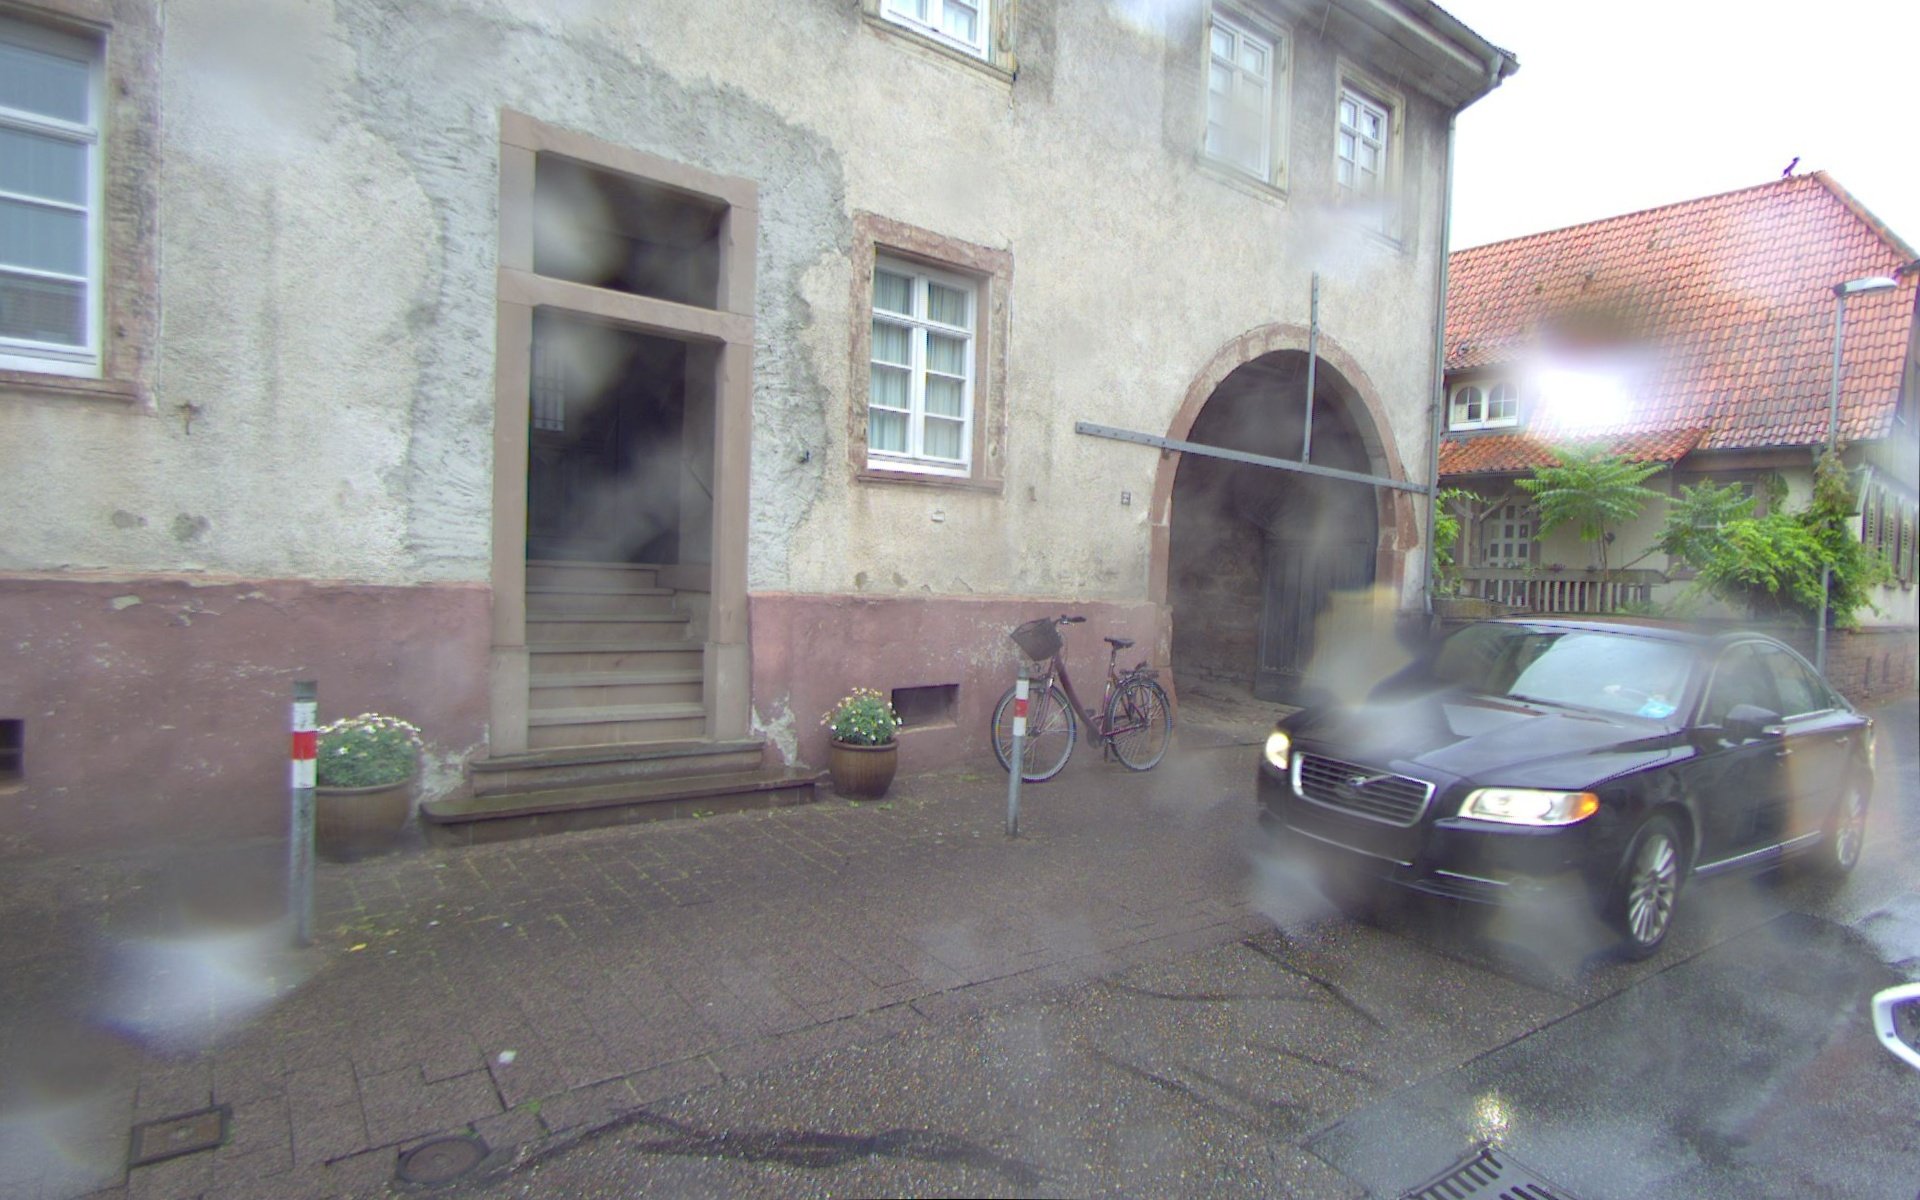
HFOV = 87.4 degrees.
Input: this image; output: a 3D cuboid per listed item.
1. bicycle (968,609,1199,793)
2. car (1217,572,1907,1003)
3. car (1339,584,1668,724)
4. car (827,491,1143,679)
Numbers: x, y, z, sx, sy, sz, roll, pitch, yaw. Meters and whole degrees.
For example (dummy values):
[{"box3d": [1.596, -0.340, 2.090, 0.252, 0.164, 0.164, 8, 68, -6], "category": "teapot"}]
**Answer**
[{"box3d": [0.958, 0.688, 7.454, 1.858, 1.194, 0.478, 1, 4, -38], "category": "bicycle"}, {"box3d": [3.560, 0.728, 5.629, 4.299, 1.529, 1.684, 2, 2, -36], "category": "car"}, {"box3d": [7.986, 0.702, 15.163, 1.715, 1.444, 3.967, 2, 5, -30], "category": "car"}, {"box3d": [0.157, -0.304, 13.528, 1.869, 1.957, 4.194, 6, 3, -37], "category": "car"}]
